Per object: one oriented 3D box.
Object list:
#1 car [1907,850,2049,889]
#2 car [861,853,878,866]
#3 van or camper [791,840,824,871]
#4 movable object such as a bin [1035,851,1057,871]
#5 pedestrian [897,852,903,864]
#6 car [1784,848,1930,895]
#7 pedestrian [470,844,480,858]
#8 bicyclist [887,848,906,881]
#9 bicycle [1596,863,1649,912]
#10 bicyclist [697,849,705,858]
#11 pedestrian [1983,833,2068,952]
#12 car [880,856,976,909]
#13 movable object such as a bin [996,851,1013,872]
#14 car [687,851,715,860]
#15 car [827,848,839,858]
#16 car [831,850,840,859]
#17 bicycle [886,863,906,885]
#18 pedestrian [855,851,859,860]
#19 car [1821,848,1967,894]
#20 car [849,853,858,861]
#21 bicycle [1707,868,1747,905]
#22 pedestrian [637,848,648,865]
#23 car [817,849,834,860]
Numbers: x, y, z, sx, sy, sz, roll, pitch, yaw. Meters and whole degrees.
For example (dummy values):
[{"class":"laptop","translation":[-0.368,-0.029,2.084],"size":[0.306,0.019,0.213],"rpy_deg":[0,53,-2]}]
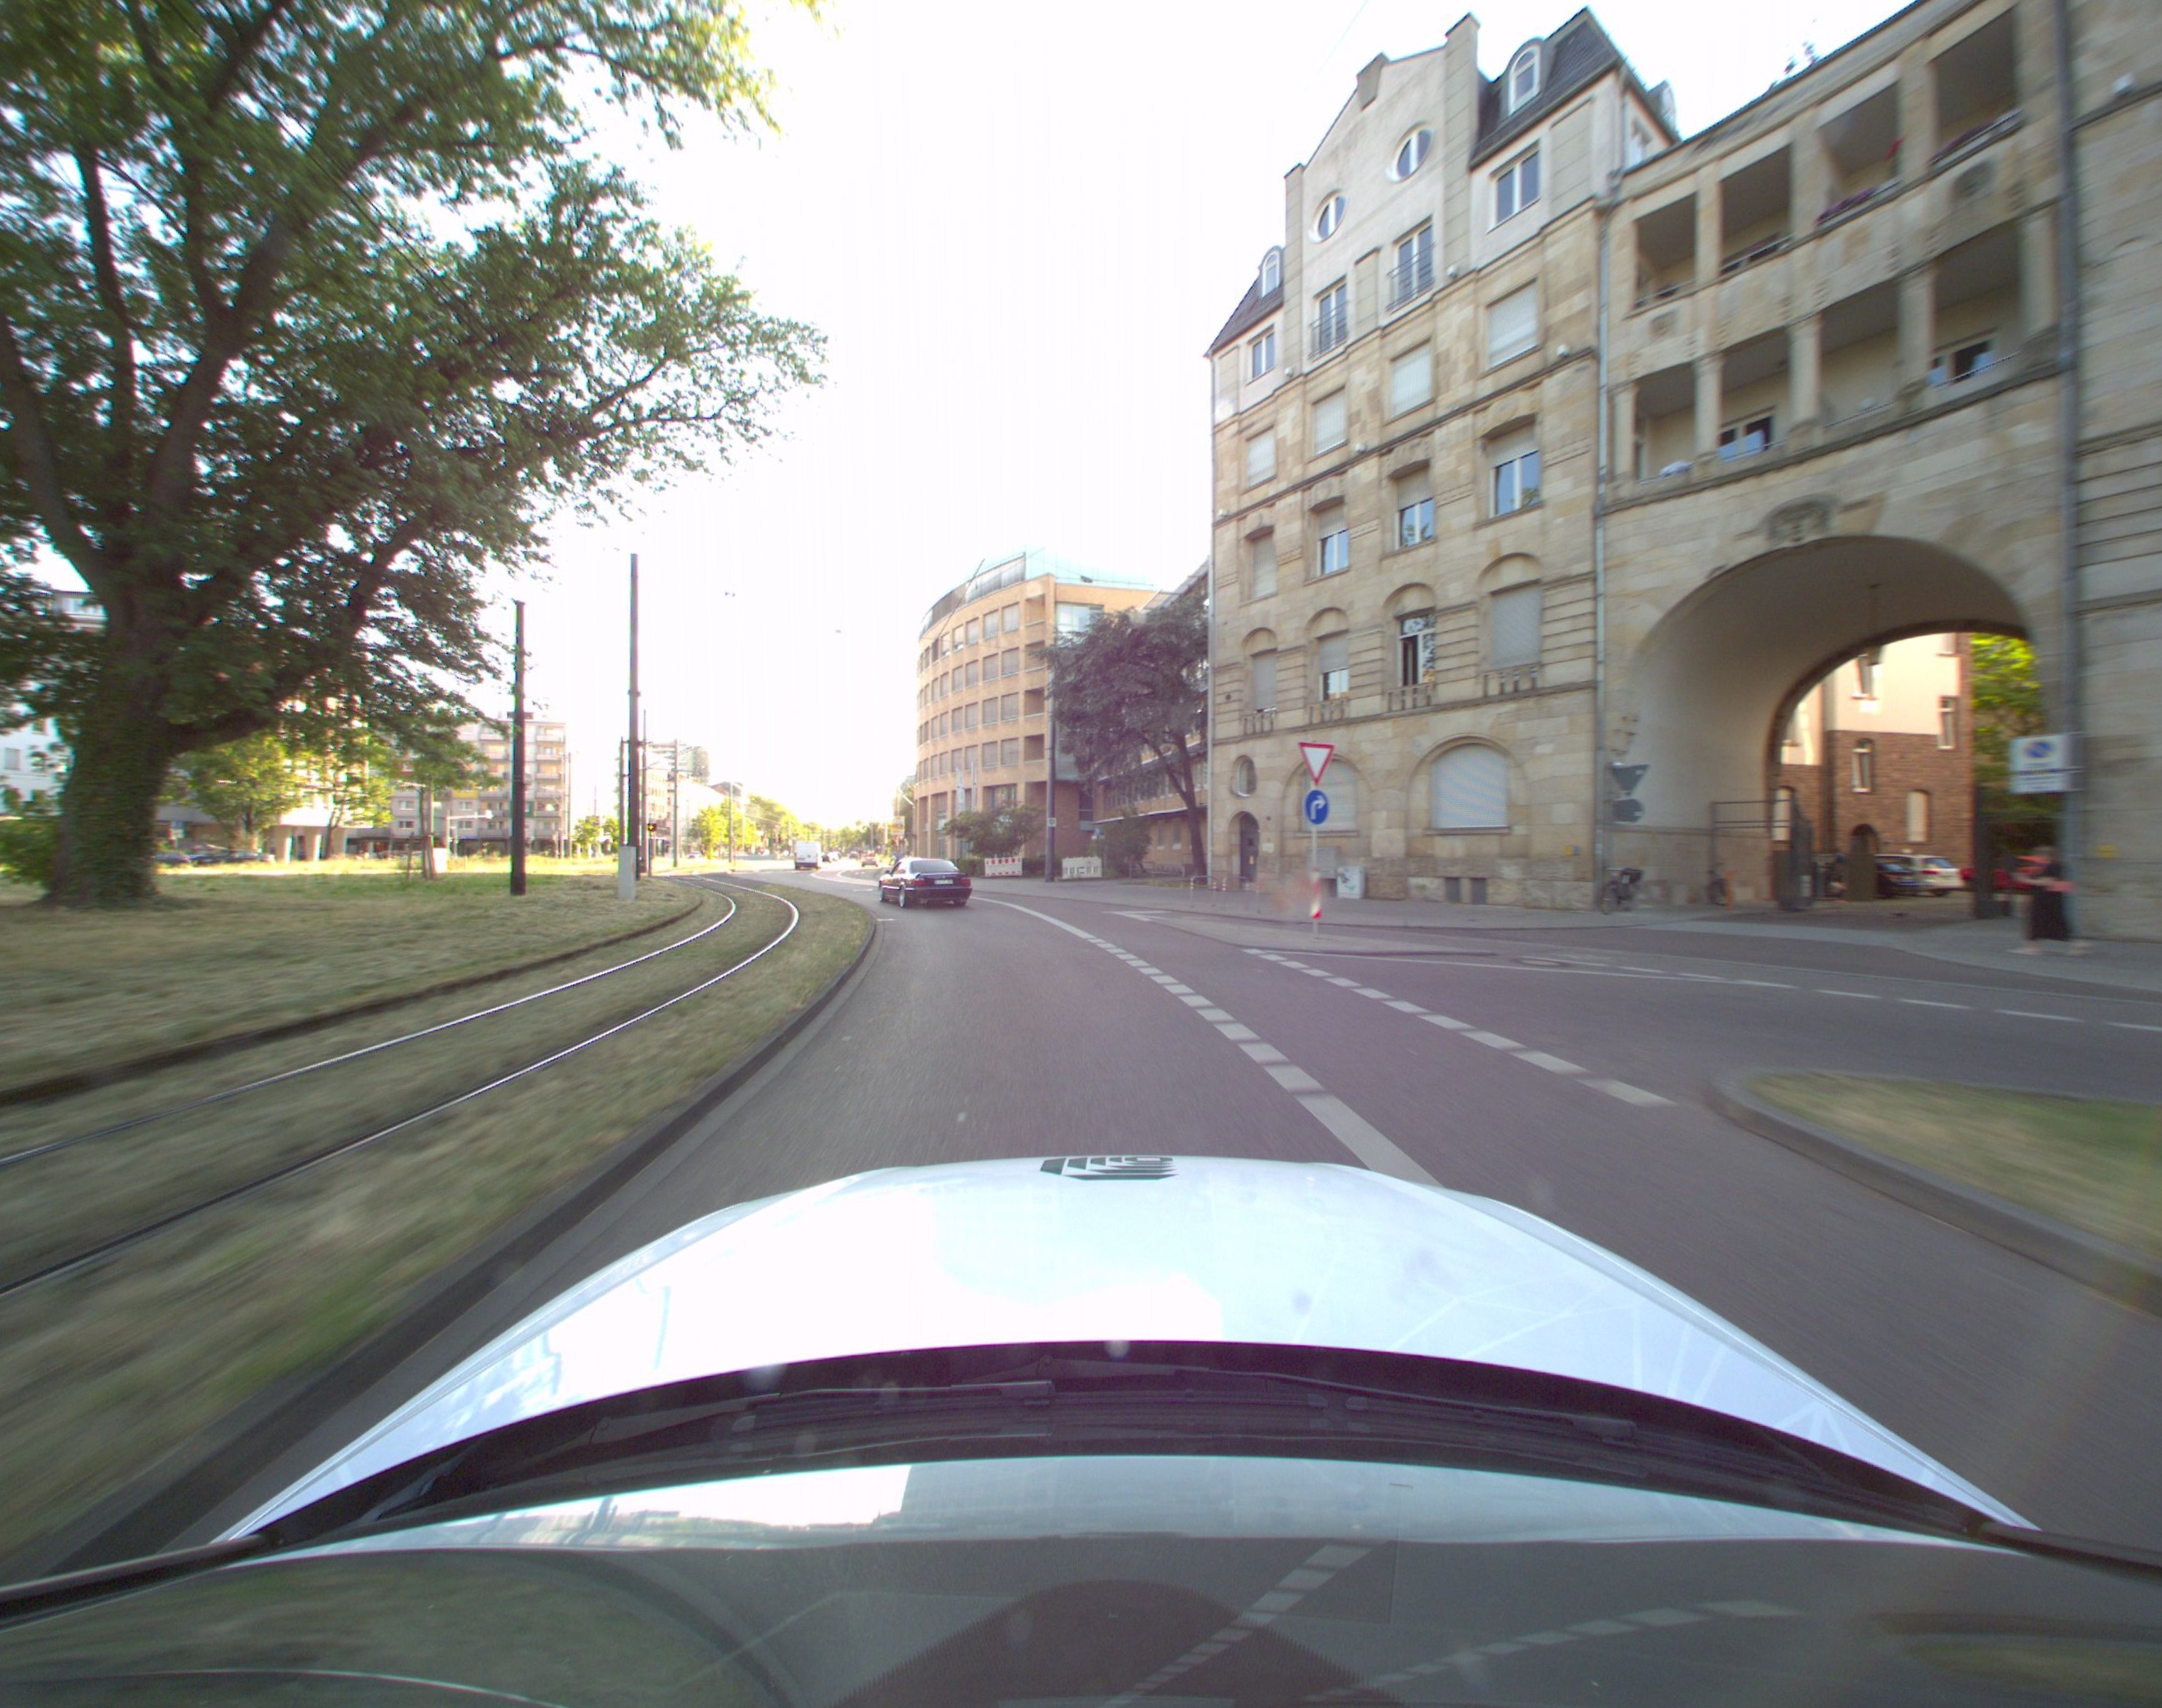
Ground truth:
[{"class":"car","translation":[37.291,0.611,33.999],"size":[1.621,1.445,3.671],"rpy_deg":[0,1,-13]},{"class":"car","translation":[-23.892,0.659,92.260],"size":[1.786,1.354,4.247],"rpy_deg":[1,0,-14]},{"class":"van or camper","translation":[-24.086,0.124,71.886],"size":[2.265,2.624,4.484],"rpy_deg":[0,1,-12]},{"class":"movable object such as a bin","translation":[-2.513,0.488,58.771],"size":[1.345,1.424,0.918],"rpy_deg":[0,1,-21]},{"class":"pedestrian","translation":[-24.222,0.559,108.903],"size":[0.678,1.569,0.796],"rpy_deg":[0,1,-15]},{"class":"car","translation":[28.821,0.606,30.388],"size":[1.621,1.595,3.671],"rpy_deg":[0,1,-13]},{"class":"pedestrian","translation":[-72.513,-0.380,97.463],"size":[0.739,1.669,0.780],"rpy_deg":[0,1,-11]},{"class":"bicyclist","translation":[-8.577,0.487,37.876],"size":[0.658,1.483,1.030],"rpy_deg":[2,-1,-24]},{"class":"bicycle","translation":[12.896,0.784,19.374],"size":[1.864,1.073,0.424],"rpy_deg":[-1,1,-36]},{"class":"bicyclist","translation":[-63.467,-0.076,136.014],"size":[0.861,1.442,0.655],"rpy_deg":[2,0,-44]},{"class":"pedestrian","translation":[14.053,0.544,12.124],"size":[0.579,1.709,0.714],"rpy_deg":[0,1,-31]},{"class":"car","translation":[-4.670,0.787,24.337],"size":[1.838,1.354,4.605],"rpy_deg":[-2,1,-23]},{"class":"movable object such as a bin","translation":[-5.493,0.513,58.466],"size":[0.966,1.437,1.347],"rpy_deg":[0,1,6]},{"class":"car","translation":[-64.277,0.269,137.723],"size":[4.021,1.434,1.698],"rpy_deg":[1,1,-42]},{"class":"car","translation":[-40.372,-0.111,132.738],"size":[1.798,1.566,3.978],"rpy_deg":[0,1,-17]},{"class":"car","translation":[-49.966,0.087,165.800],"size":[1.798,1.566,3.978],"rpy_deg":[0,1,-17]},{"class":"bicycle","translation":[-8.674,0.929,38.078],"size":[0.517,0.954,1.761],"rpy_deg":[2,0,-25]},{"class":"pedestrian","translation":[-38.024,0.270,138.119],"size":[0.616,1.475,0.798],"rpy_deg":[0,1,-9]},{"class":"car","translation":[31.032,0.583,31.223],"size":[1.621,1.595,3.671],"rpy_deg":[0,1,-13]},{"class":"car","translation":[-51.179,0.706,183.037],"size":[1.798,1.566,3.978],"rpy_deg":[0,1,-17]},{"class":"bicycle","translation":[17.994,0.901,22.688],"size":[1.519,0.955,0.476],"rpy_deg":[-1,1,-36]},{"class":"pedestrian","translation":[-47.126,0.288,87.524],"size":[0.715,1.762,0.652],"rpy_deg":[0,1,8]},{"class":"car","translation":[-33.683,0.047,107.406],"size":[1.739,1.385,3.984],"rpy_deg":[0,1,-12]}]
